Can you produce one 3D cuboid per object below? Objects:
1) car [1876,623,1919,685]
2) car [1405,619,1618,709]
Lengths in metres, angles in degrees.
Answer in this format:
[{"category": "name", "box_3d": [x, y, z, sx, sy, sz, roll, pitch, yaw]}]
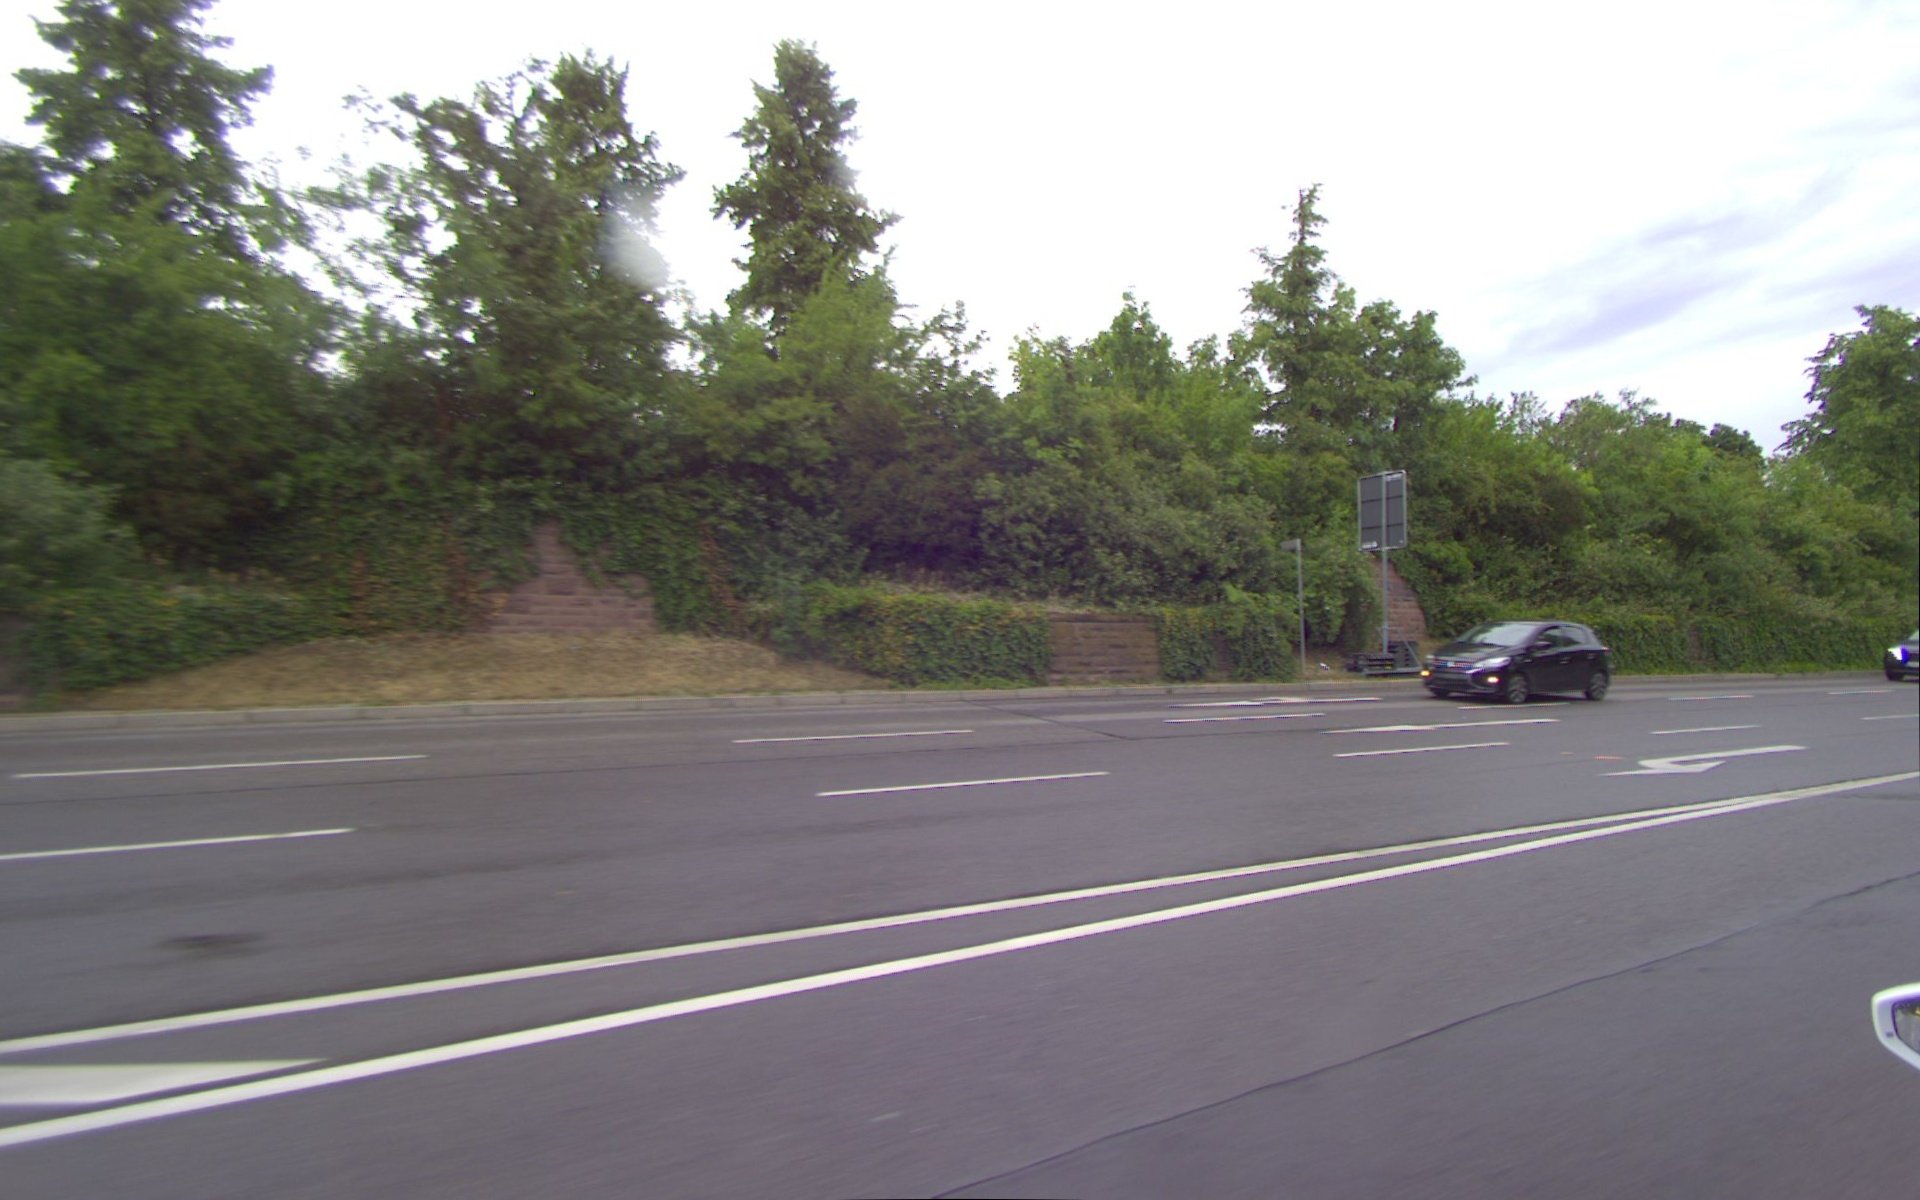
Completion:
[{"category": "car", "box_3d": [27.266, 1.468, 27.539, 4.372, 1.628, 1.793, 1, 0, -28]}, {"category": "car", "box_3d": [10.240, 1.117, 18.608, 3.814, 1.487, 1.668, 1, 0, -29]}]
